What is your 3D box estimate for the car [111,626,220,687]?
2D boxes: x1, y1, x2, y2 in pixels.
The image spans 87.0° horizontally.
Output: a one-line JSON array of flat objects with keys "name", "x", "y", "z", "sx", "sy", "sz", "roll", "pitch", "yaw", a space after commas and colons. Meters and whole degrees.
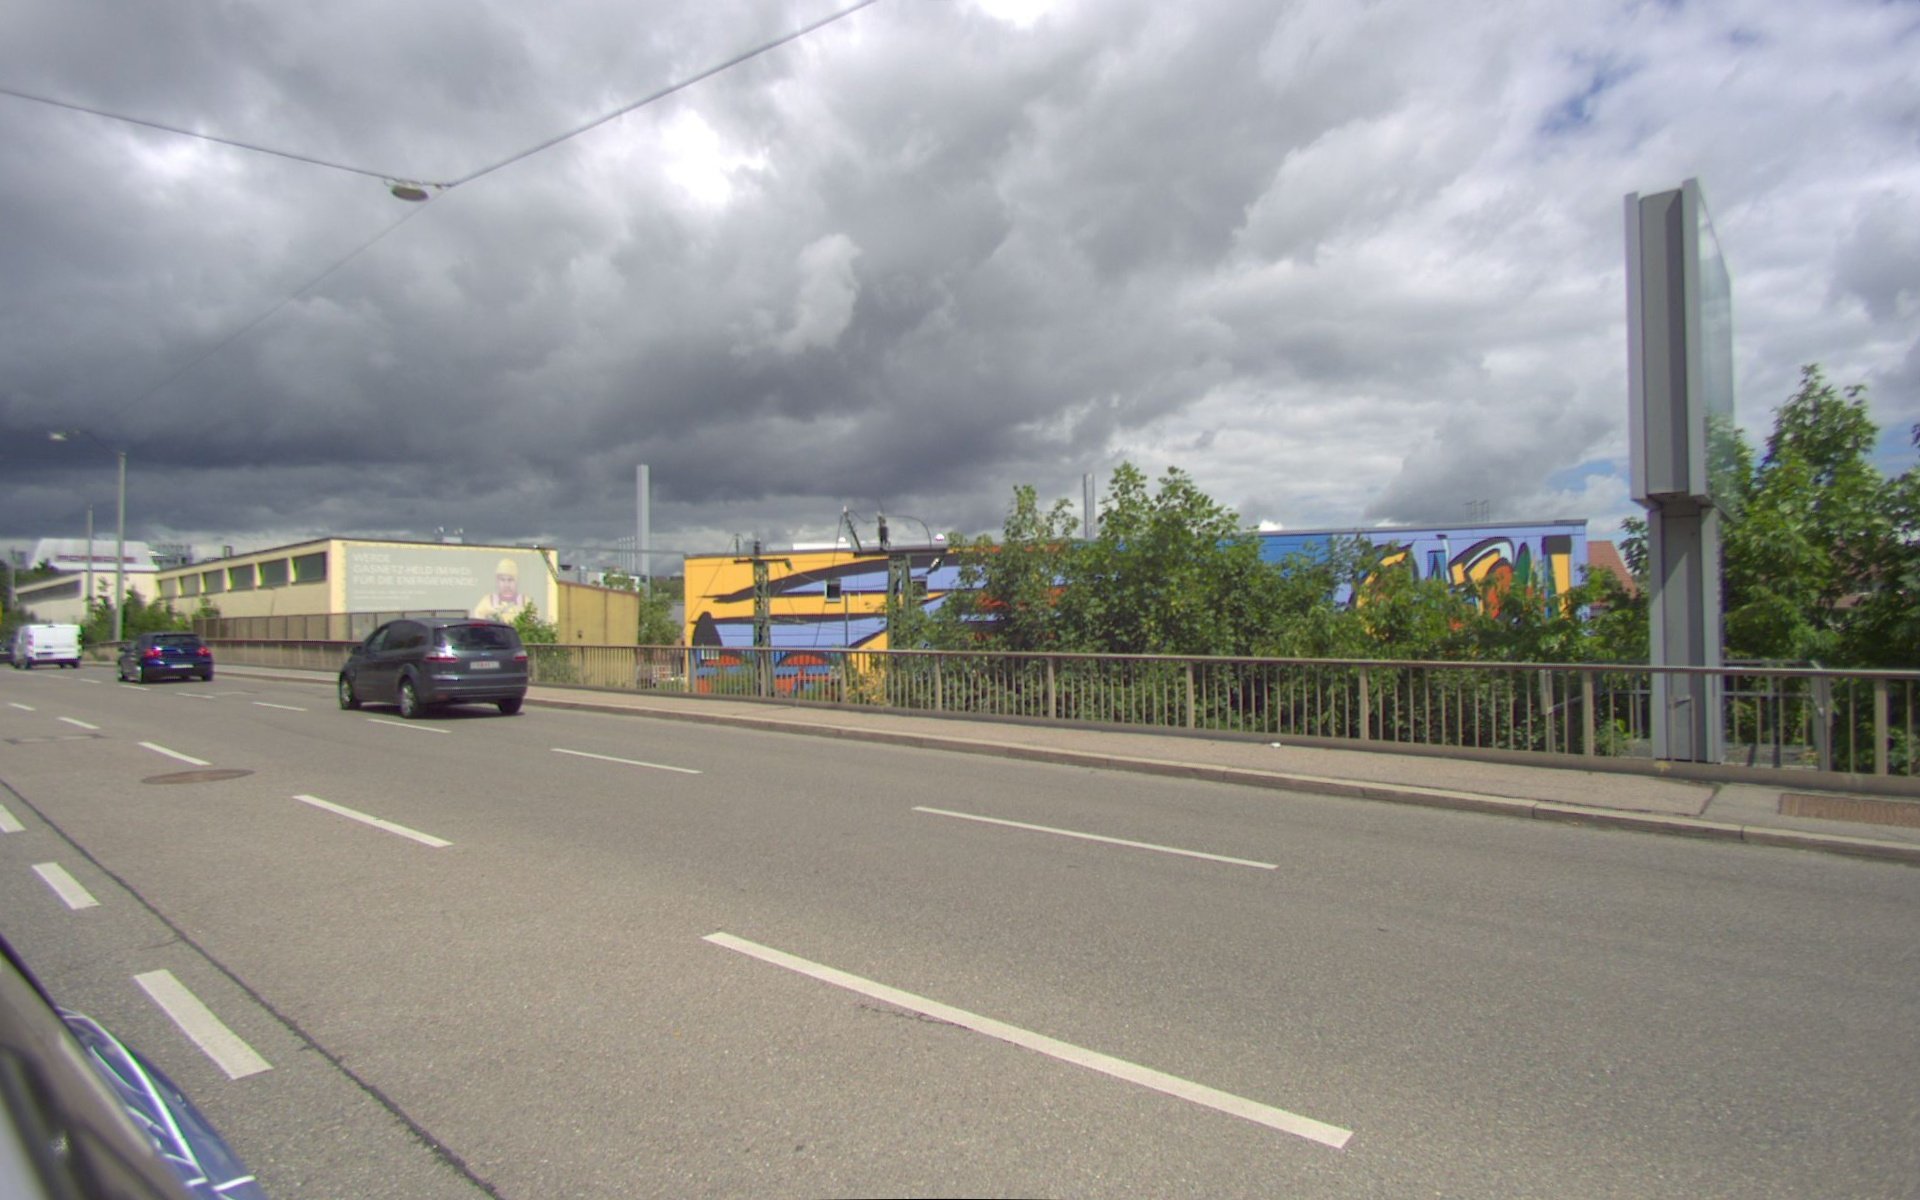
[{"name": "car", "x": -23.522, "y": 1.640, "z": 29.915, "sx": 3.998, "sy": 1.630, "sz": 1.837, "roll": -2, "pitch": -2, "yaw": 41}]

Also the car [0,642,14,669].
[{"name": "car", "x": -53.581, "y": 3.068, "z": 55.819, "sx": 3.795, "sy": 1.423, "sz": 1.592, "roll": -2, "pitch": -1, "yaw": 39}]

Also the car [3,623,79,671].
[{"name": "car", "x": -41.627, "y": 2.094, "z": 45.790, "sx": 5.646, "sy": 2.029, "sz": 1.872, "roll": -2, "pitch": -1, "yaw": 40}]

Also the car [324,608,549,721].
[{"name": "car", "x": -9.252, "y": 1.103, "z": 17.722, "sx": 4.623, "sy": 1.715, "sz": 1.891, "roll": -2, "pitch": -5, "yaw": 41}]
